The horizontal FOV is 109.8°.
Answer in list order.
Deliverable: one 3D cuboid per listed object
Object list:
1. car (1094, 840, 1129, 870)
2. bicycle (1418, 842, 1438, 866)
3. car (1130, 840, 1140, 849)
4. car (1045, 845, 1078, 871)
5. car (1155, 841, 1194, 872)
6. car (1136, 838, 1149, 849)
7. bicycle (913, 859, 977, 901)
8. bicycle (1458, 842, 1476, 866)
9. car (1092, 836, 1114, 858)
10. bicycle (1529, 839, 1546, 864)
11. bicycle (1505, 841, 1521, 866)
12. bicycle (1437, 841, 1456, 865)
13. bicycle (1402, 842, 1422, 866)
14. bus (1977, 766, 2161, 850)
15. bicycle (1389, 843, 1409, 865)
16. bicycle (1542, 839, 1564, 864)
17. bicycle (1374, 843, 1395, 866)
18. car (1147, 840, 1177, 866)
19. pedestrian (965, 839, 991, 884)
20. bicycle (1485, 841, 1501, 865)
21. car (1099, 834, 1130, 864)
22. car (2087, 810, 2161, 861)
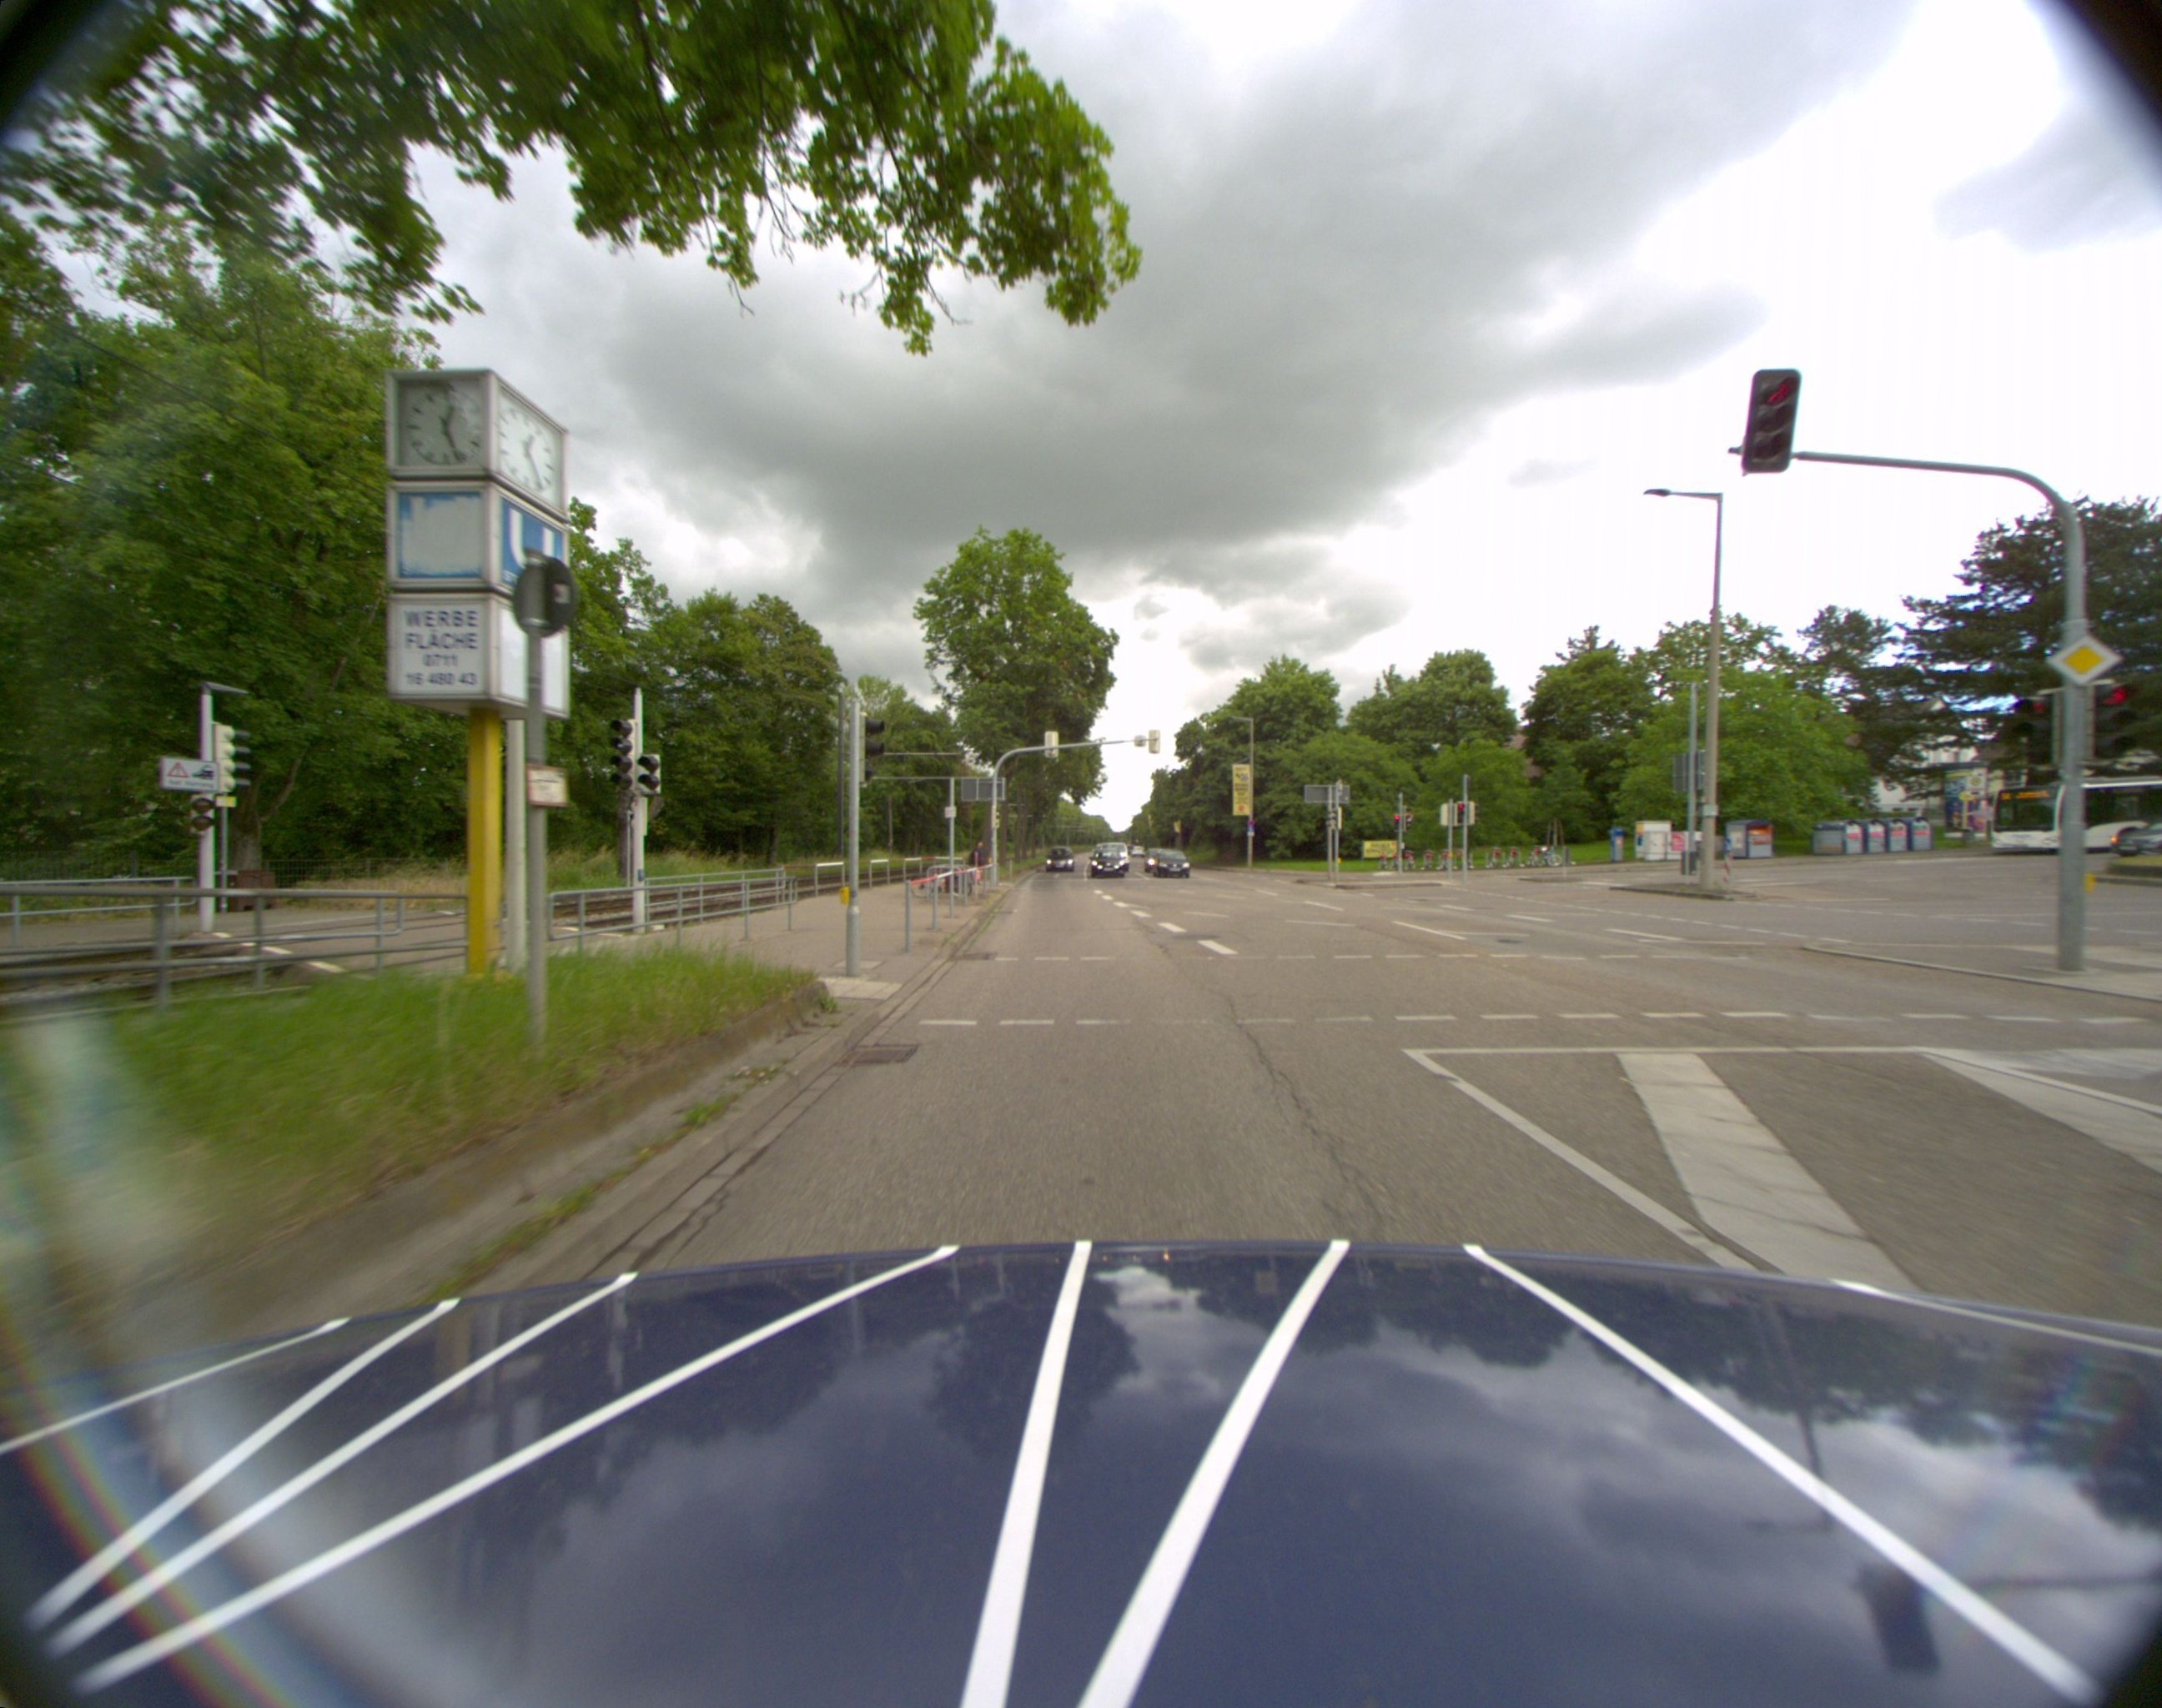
[{"bbox_3d":[1.569,0.036,39.664,1.708,1.472,3.667,0,1,1],"label":"car"},{"bbox_3d":[19.413,-0.013,42.471,0.544,1.245,1.939,0,2,39],"label":"bicycle"},{"bbox_3d":[9.728,-1.686,137.331,1.743,1.530,3.910,-1,1,4],"label":"car"},{"bbox_3d":[-1.205,0.242,49.231,1.807,1.520,3.929,-1,1,3],"label":"car"},{"bbox_3d":[4.760,0.104,39.126,1.560,1.458,3.807,2,1,1],"label":"car"},{"bbox_3d":[9.285,-1.609,114.668,1.743,1.530,3.911,-1,1,7],"label":"car"},{"bbox_3d":[-3.836,0.740,21.493,1.679,1.084,0.602,3,1,-3],"label":"bicycle"},{"bbox_3d":[21.113,-0.017,41.589,0.544,1.245,1.937,-1,1,18],"label":"bicycle"},{"bbox_3d":[1.944,-0.633,66.726,1.807,1.785,4.502,-1,1,2],"label":"car"},{"bbox_3d":[24.208,-0.159,40.320,0.544,1.245,1.938,-1,1,24],"label":"bicycle"},{"bbox_3d":[23.132,-0.034,40.685,0.544,1.245,1.939,-1,2,35],"label":"bicycle"},{"bbox_3d":[20.208,-0.043,41.997,0.544,1.245,1.939,0,2,39],"label":"bicycle"},{"bbox_3d":[18.805,-0.007,43.150,0.544,1.245,1.939,0,2,39],"label":"bicycle"},{"bbox_3d":[46.144,-2.168,32.143,12.335,3.145,2.680,-4,1,4],"label":"bus"},{"bbox_3d":[18.260,0.000,43.636,0.544,1.245,1.939,-1,1,39],"label":"bicycle"},{"bbox_3d":[24.868,-0.159,40.045,0.544,1.245,1.937,-1,1,18],"label":"bicycle"},{"bbox_3d":[17.511,0.005,43.799,0.544,1.245,1.939,0,2,39],"label":"bicycle"},{"bbox_3d":[4.971,-0.083,46.964,1.595,1.459,3.929,1,1,3],"label":"car"},{"bbox_3d":[-4.073,0.293,30.058,0.753,1.727,0.840,3,2,6],"label":"pedestrian"},{"bbox_3d":[22.263,-0.072,41.059,0.544,1.245,1.939,-1,2,35],"label":"bicycle"},{"bbox_3d":[2.154,-0.357,49.715,1.911,1.832,5.281,0,1,1],"label":"car"},{"bbox_3d":[41.427,-0.768,28.403,4.741,1.842,2.000,-2,1,3],"label":"car"}]
